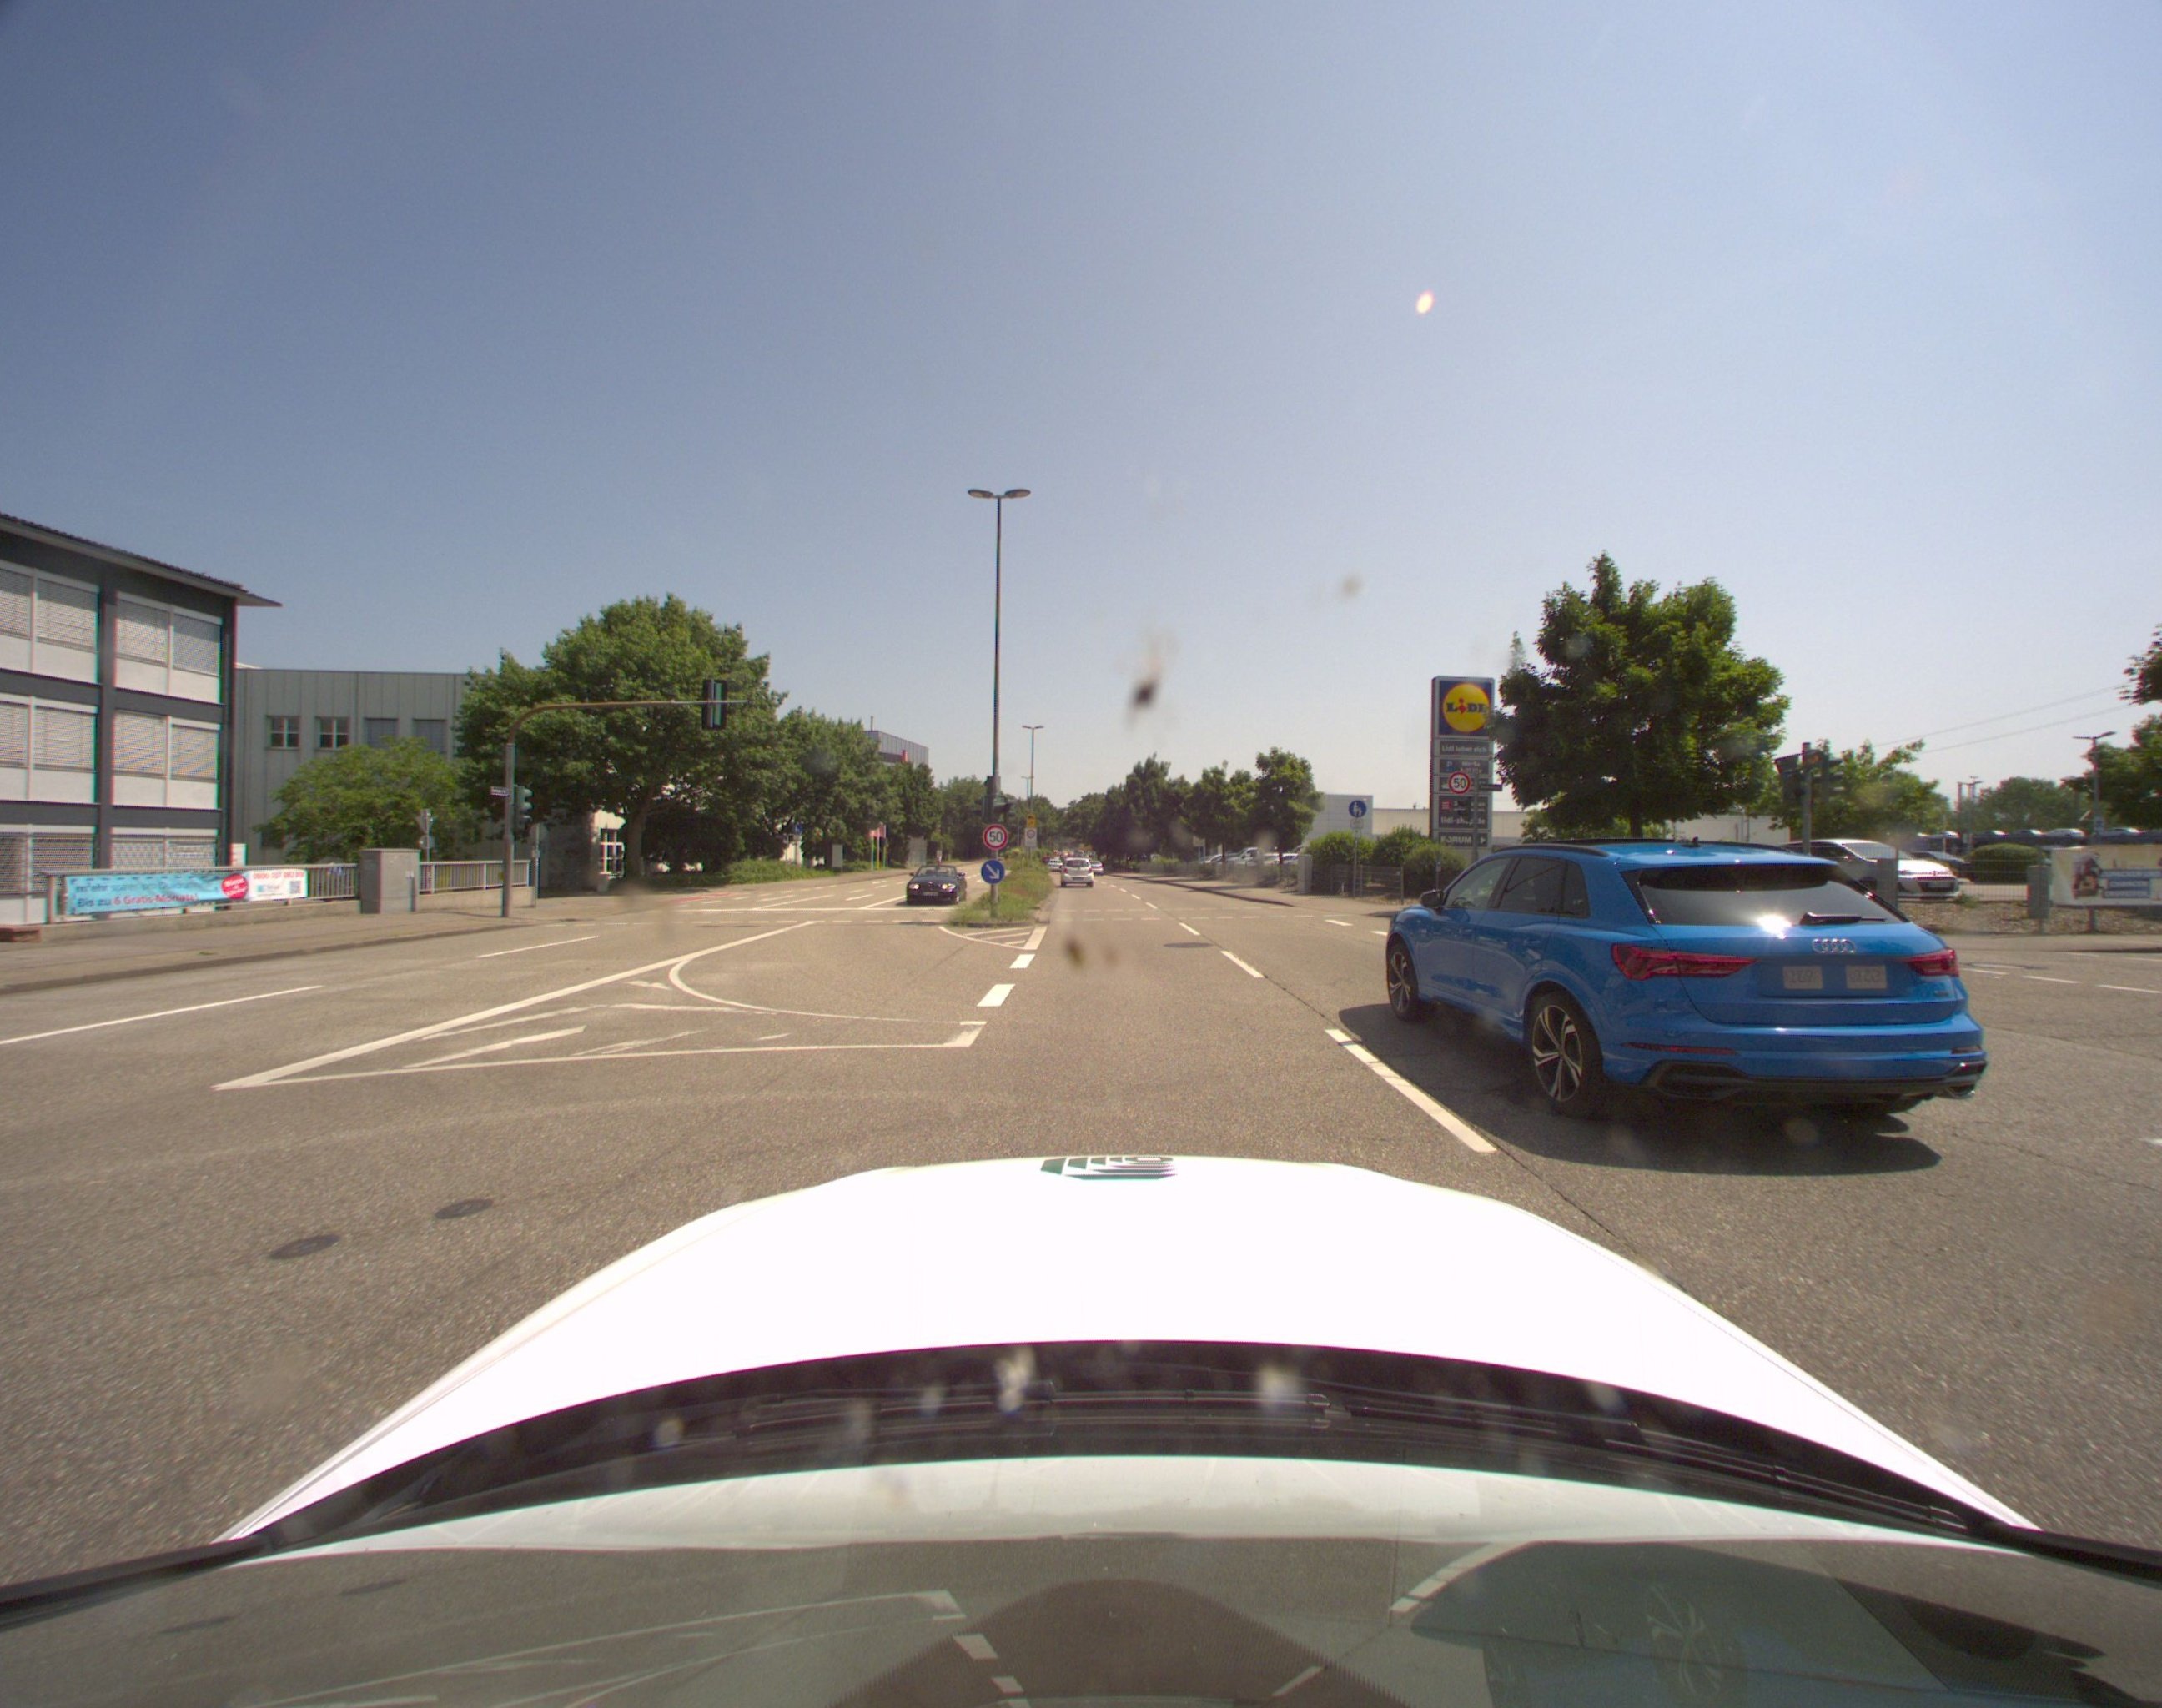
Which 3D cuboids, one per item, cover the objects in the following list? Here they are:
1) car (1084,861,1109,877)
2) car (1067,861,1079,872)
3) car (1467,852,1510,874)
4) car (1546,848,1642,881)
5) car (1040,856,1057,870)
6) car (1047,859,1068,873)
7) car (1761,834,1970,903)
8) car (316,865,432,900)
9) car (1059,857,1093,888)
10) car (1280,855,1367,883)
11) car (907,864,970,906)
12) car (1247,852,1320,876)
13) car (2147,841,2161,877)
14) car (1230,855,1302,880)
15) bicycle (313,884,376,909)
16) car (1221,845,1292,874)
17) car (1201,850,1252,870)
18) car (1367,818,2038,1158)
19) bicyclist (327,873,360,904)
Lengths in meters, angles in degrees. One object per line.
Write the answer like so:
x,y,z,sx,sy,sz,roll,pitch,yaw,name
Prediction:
1.427,1.403,76.687,1.863,1.473,3.991,2,-1,-6,car
-1.069,1.714,111.252,1.438,1.348,3.455,-1,0,-4,car
27.918,0.595,55.861,1.262,1.420,2.953,-1,0,-4,car
23.573,0.500,37.615,1.731,1.394,4.075,-1,-1,-3,car
-3.986,1.070,98.491,1.881,1.608,3.994,-1,0,-4,car
-2.457,1.194,83.734,1.882,1.354,3.993,2,-1,-5,car
18.359,0.294,19.279,1.417,1.438,3.529,-2,0,-4,car
-35.060,1.394,40.453,3.975,1.596,1.919,2,-1,-1,car
-0.289,0.941,43.486,1.635,1.552,3.321,2,-1,-3,car
12.873,0.793,43.357,4.158,1.421,1.697,1,0,-2,car
-4.915,1.023,28.557,1.726,1.323,4.144,0,0,-4,car
12.312,0.623,49.663,3.988,1.421,1.695,1,0,-4,car
45.217,0.205,32.020,1.625,1.478,3.801,-1,0,1,car
12.230,0.897,53.976,4.354,1.593,1.826,1,0,-2,car
-34.515,2.004,38.179,2.168,1.113,0.782,-1,-1,-1,bicycle
12.248,0.376,56.963,4.606,1.924,1.825,1,0,-3,car
12.524,0.508,70.427,3.983,1.596,1.822,1,-1,-7,car
3.699,0.643,6.042,1.801,1.593,4.352,-1,0,3,car
-34.543,1.620,38.163,0.855,1.410,0.745,-1,-1,-1,bicyclist
